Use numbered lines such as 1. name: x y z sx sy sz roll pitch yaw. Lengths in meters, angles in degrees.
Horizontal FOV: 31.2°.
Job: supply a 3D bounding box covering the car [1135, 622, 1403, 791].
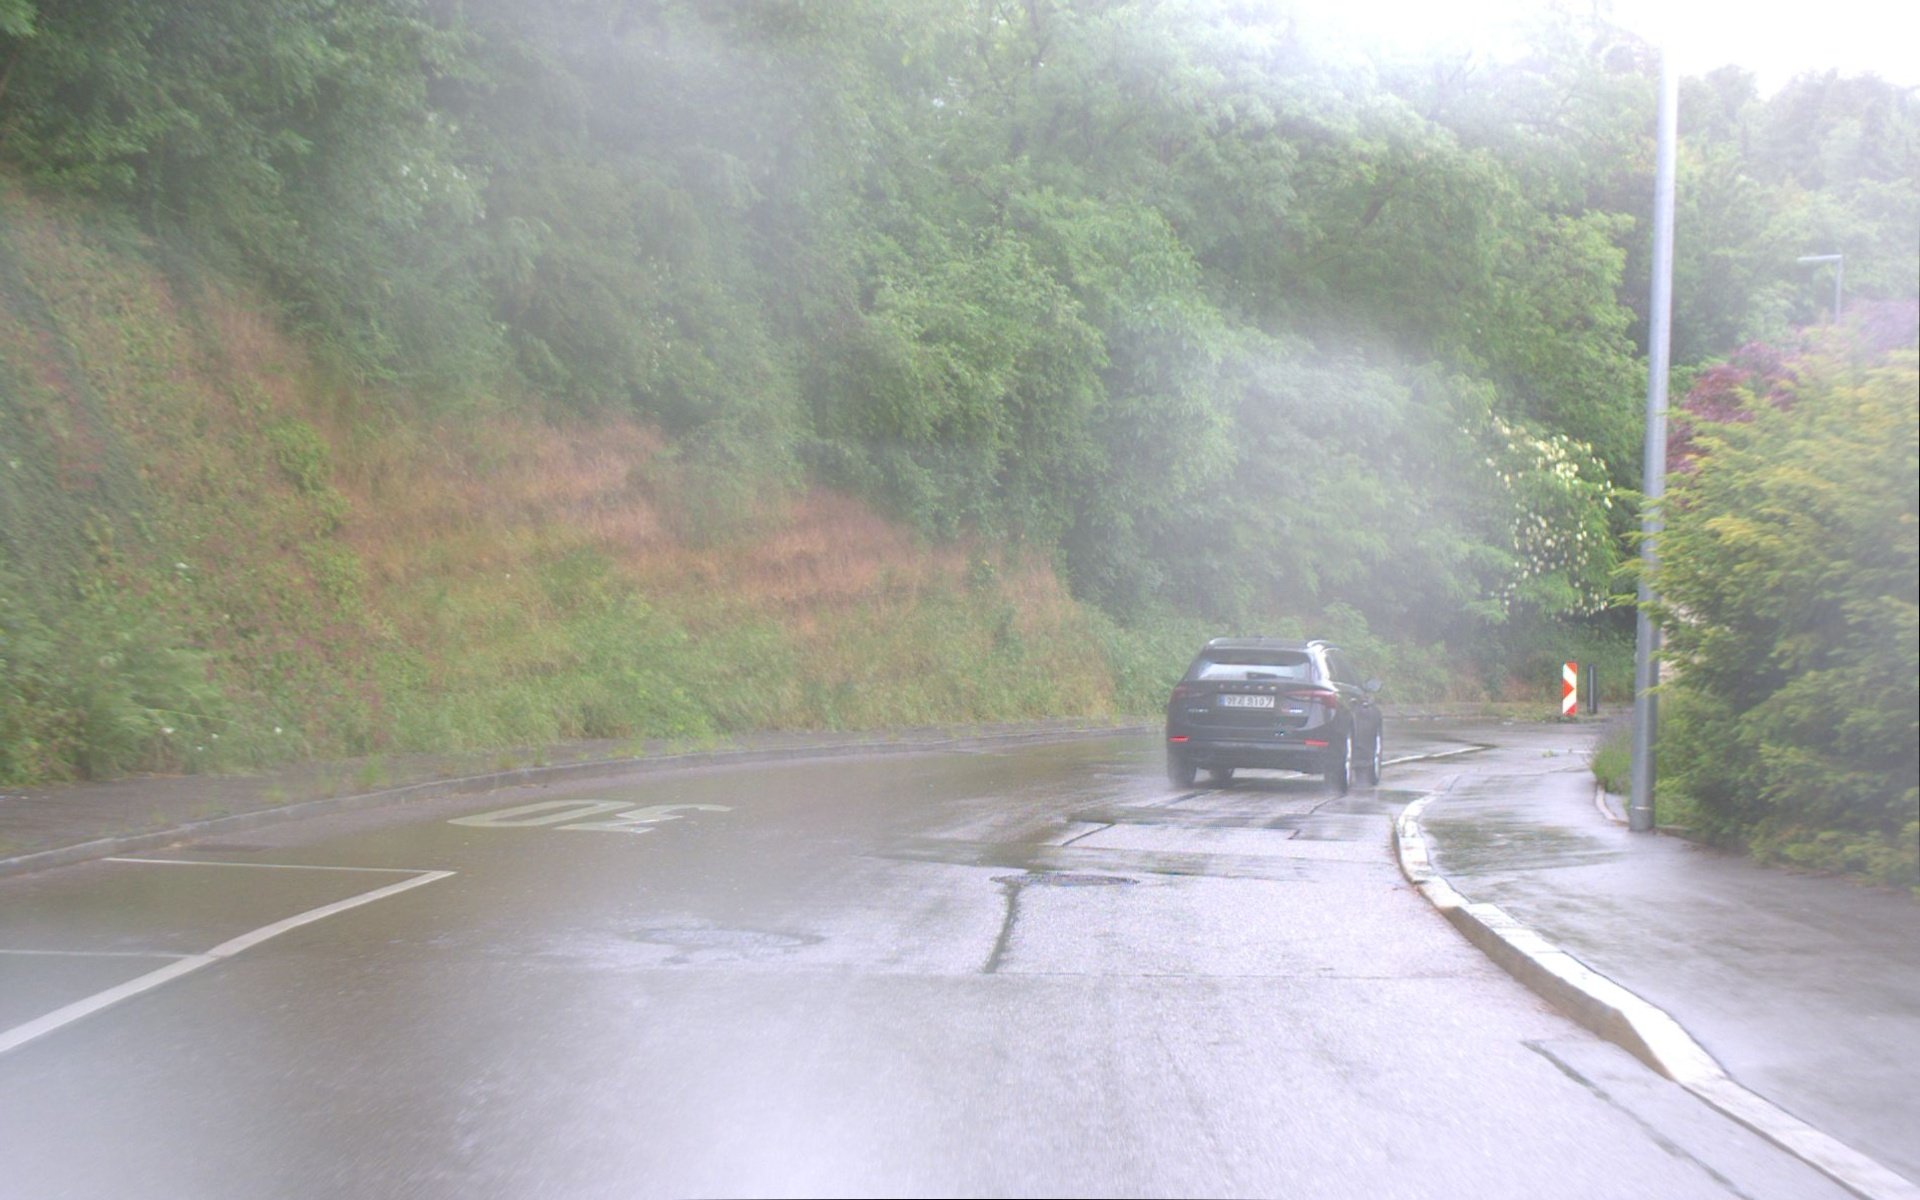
1. car: 3.139 1.025 34.199 1.870 1.507 4.089 2 0 16
